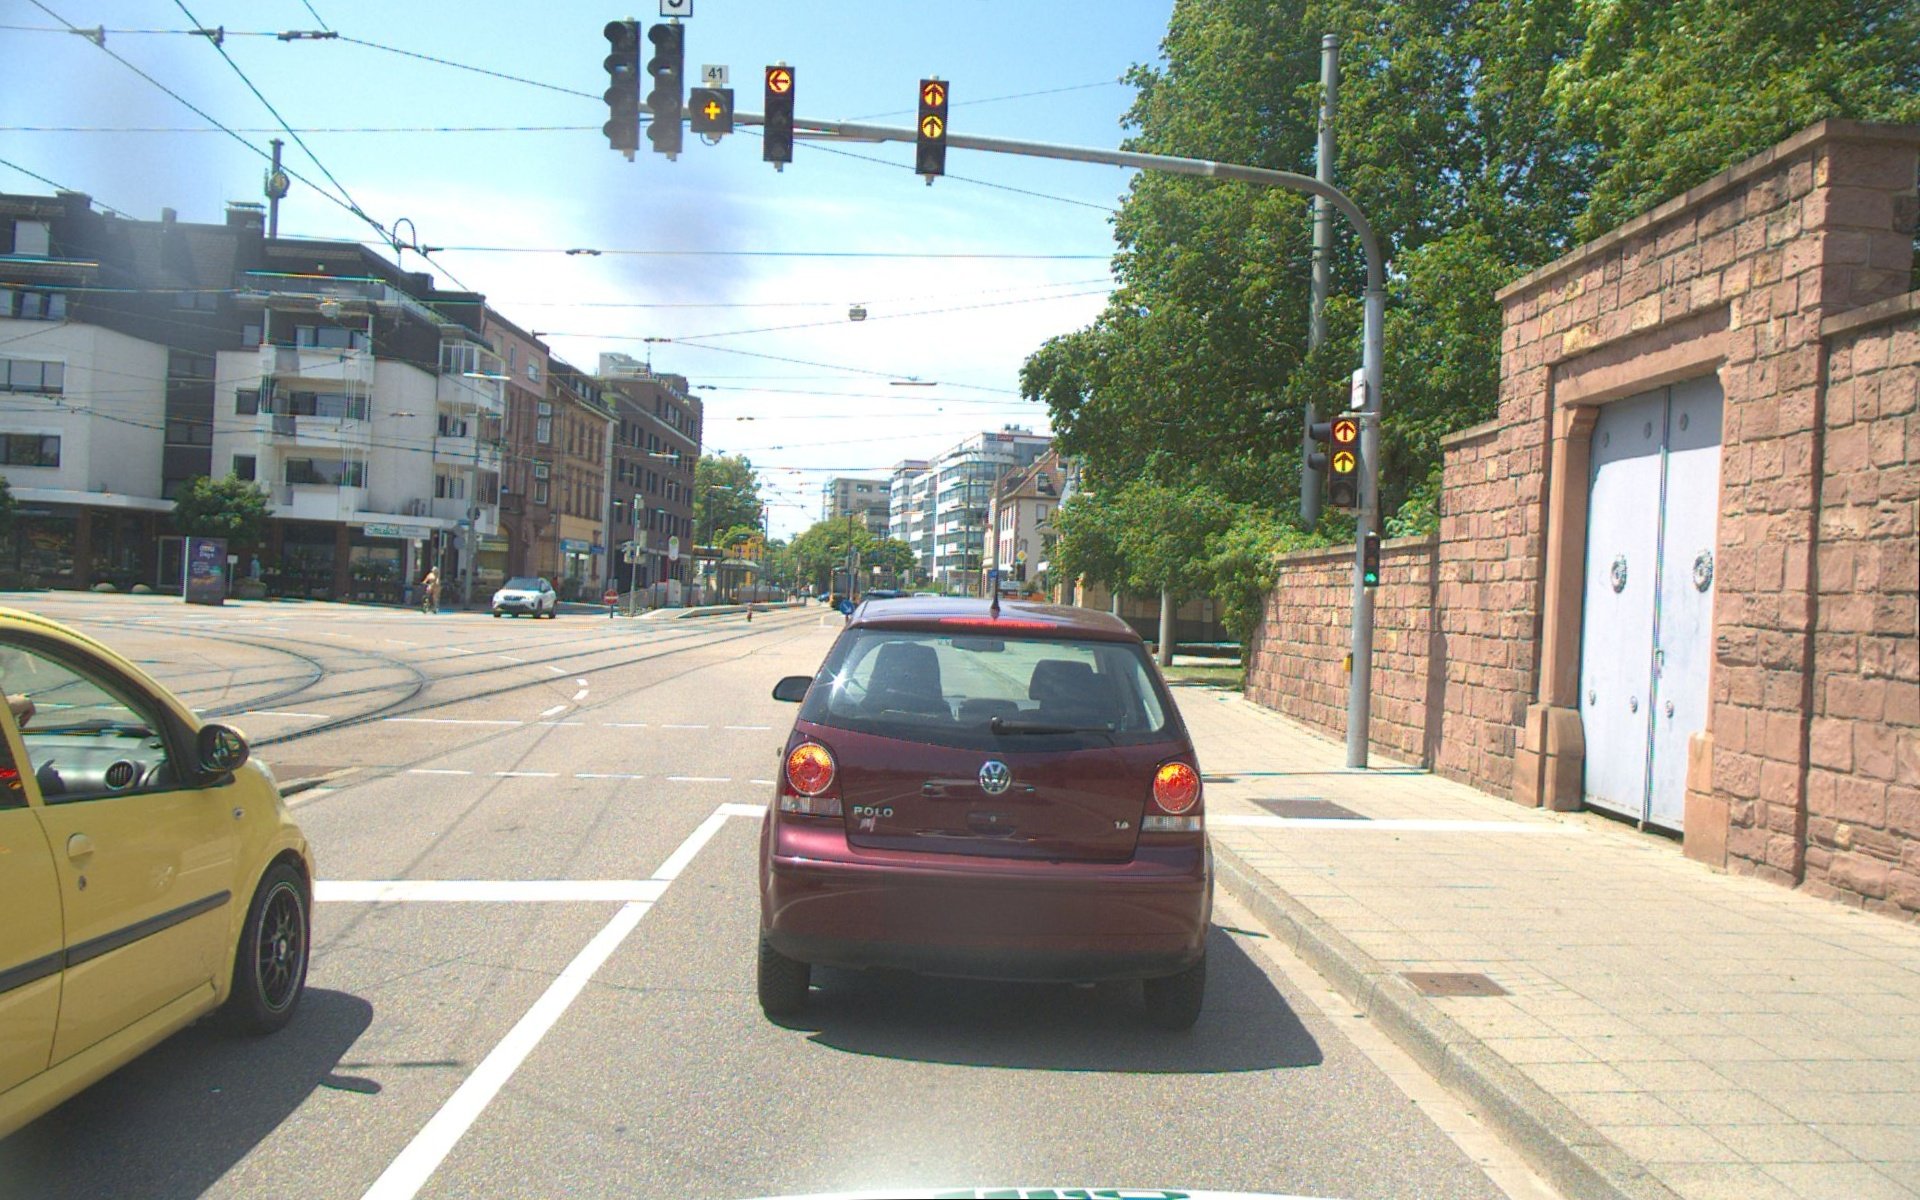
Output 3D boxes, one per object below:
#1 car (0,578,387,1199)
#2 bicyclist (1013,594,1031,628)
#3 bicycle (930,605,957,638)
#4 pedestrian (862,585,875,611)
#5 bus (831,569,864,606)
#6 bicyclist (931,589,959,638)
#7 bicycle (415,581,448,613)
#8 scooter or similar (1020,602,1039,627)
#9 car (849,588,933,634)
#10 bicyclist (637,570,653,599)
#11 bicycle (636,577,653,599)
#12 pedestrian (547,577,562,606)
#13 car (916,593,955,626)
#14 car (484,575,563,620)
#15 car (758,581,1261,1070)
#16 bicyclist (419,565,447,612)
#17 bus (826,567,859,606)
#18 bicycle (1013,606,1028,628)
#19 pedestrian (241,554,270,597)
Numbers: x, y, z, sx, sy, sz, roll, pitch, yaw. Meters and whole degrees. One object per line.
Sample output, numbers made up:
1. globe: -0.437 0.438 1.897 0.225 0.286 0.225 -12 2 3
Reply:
1. car: -2.906 0.679 4.411 1.583 1.446 3.654 0 0 -2
2. bicyclist: 3.119 0.535 83.445 0.815 1.646 0.860 -2 1 0
3. bicycle: -0.602 0.786 61.559 0.367 1.218 1.906 2 0 18
4. pedestrian: -6.101 -0.153 110.173 0.747 1.704 1.100 2 0 -1
5. bus: -9.689 -1.031 143.214 2.187 3.055 6.594 2 0 1
6. bicyclist: -0.550 0.489 61.857 0.712 1.791 0.924 2 0 19
7. bicycle: -20.496 -0.128 64.165 0.680 1.169 1.931 2 1 -2
8. scooter or similar: 3.540 0.742 84.285 0.335 1.198 1.456 2 0 -25
9. car: -2.628 0.419 64.314 1.951 1.653 4.635 2 0 15
10. bicyclist: -19.925 -0.986 104.590 0.717 1.793 1.135 3 0 0
11. bicycle: -19.939 -0.755 104.533 0.663 1.327 2.105 3 1 0
12. pedestrian: -22.090 -0.458 90.110 0.602 1.588 0.640 2 0 -2
13. car: -1.188 0.454 81.465 1.786 1.556 4.000 2 0 0
14. car: -16.740 -0.089 63.594 1.953 1.580 4.138 2 0 -1
15. car: 0.112 0.709 6.726 1.530 1.479 3.060 2 0 -2
16. bicyclist: -20.478 -0.458 64.268 0.680 1.796 1.137 2 1 -2
17. bus: -9.666 -1.059 136.638 2.101 3.055 6.574 2 0 1
18. bicycle: 3.062 0.844 83.305 0.654 1.020 1.863 -2 0 0
19. pedestrian: -29.125 -1.020 68.366 0.689 1.726 0.803 2 0 41
